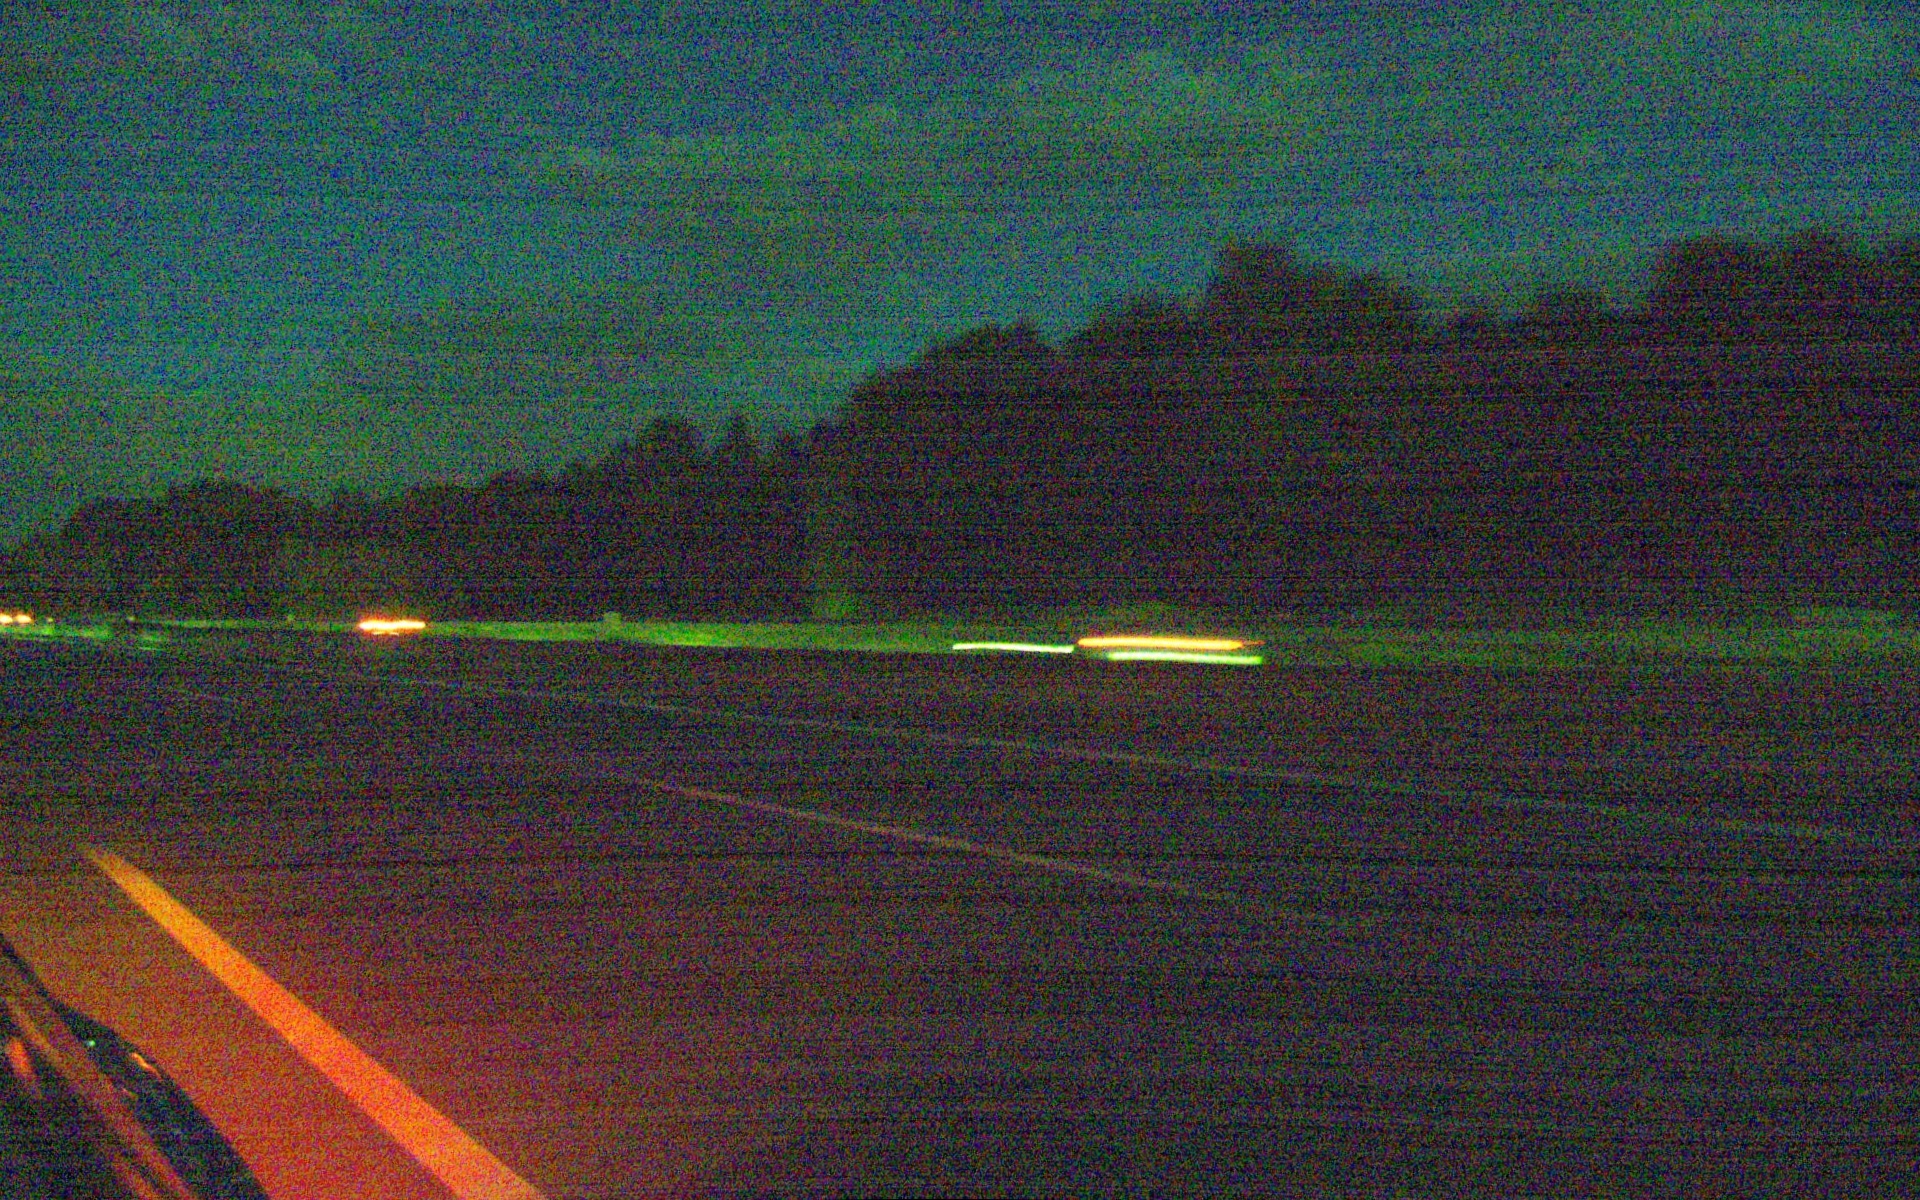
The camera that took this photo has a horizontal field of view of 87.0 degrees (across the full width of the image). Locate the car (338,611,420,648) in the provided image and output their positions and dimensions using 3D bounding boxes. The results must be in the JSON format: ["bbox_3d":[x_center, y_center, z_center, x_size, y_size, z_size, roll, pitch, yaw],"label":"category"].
[{"bbox_3d":[-27.977,1.393,48.703,4.394,1.663,1.974,0,0,39],"label":"car"}]

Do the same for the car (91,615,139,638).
[{"bbox_3d":[-57.325,1.782,68.630,4.208,1.479,1.972,0,0,43],"label":"car"}]

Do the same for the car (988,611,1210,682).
[{"bbox_3d":[2.878,0.917,21.633,4.400,1.342,1.972,0,0,43],"label":"car"}]

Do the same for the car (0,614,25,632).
[{"bbox_3d":[-100.585,2.383,106.932,4.392,1.800,1.975,0,0,37],"label":"car"}]
